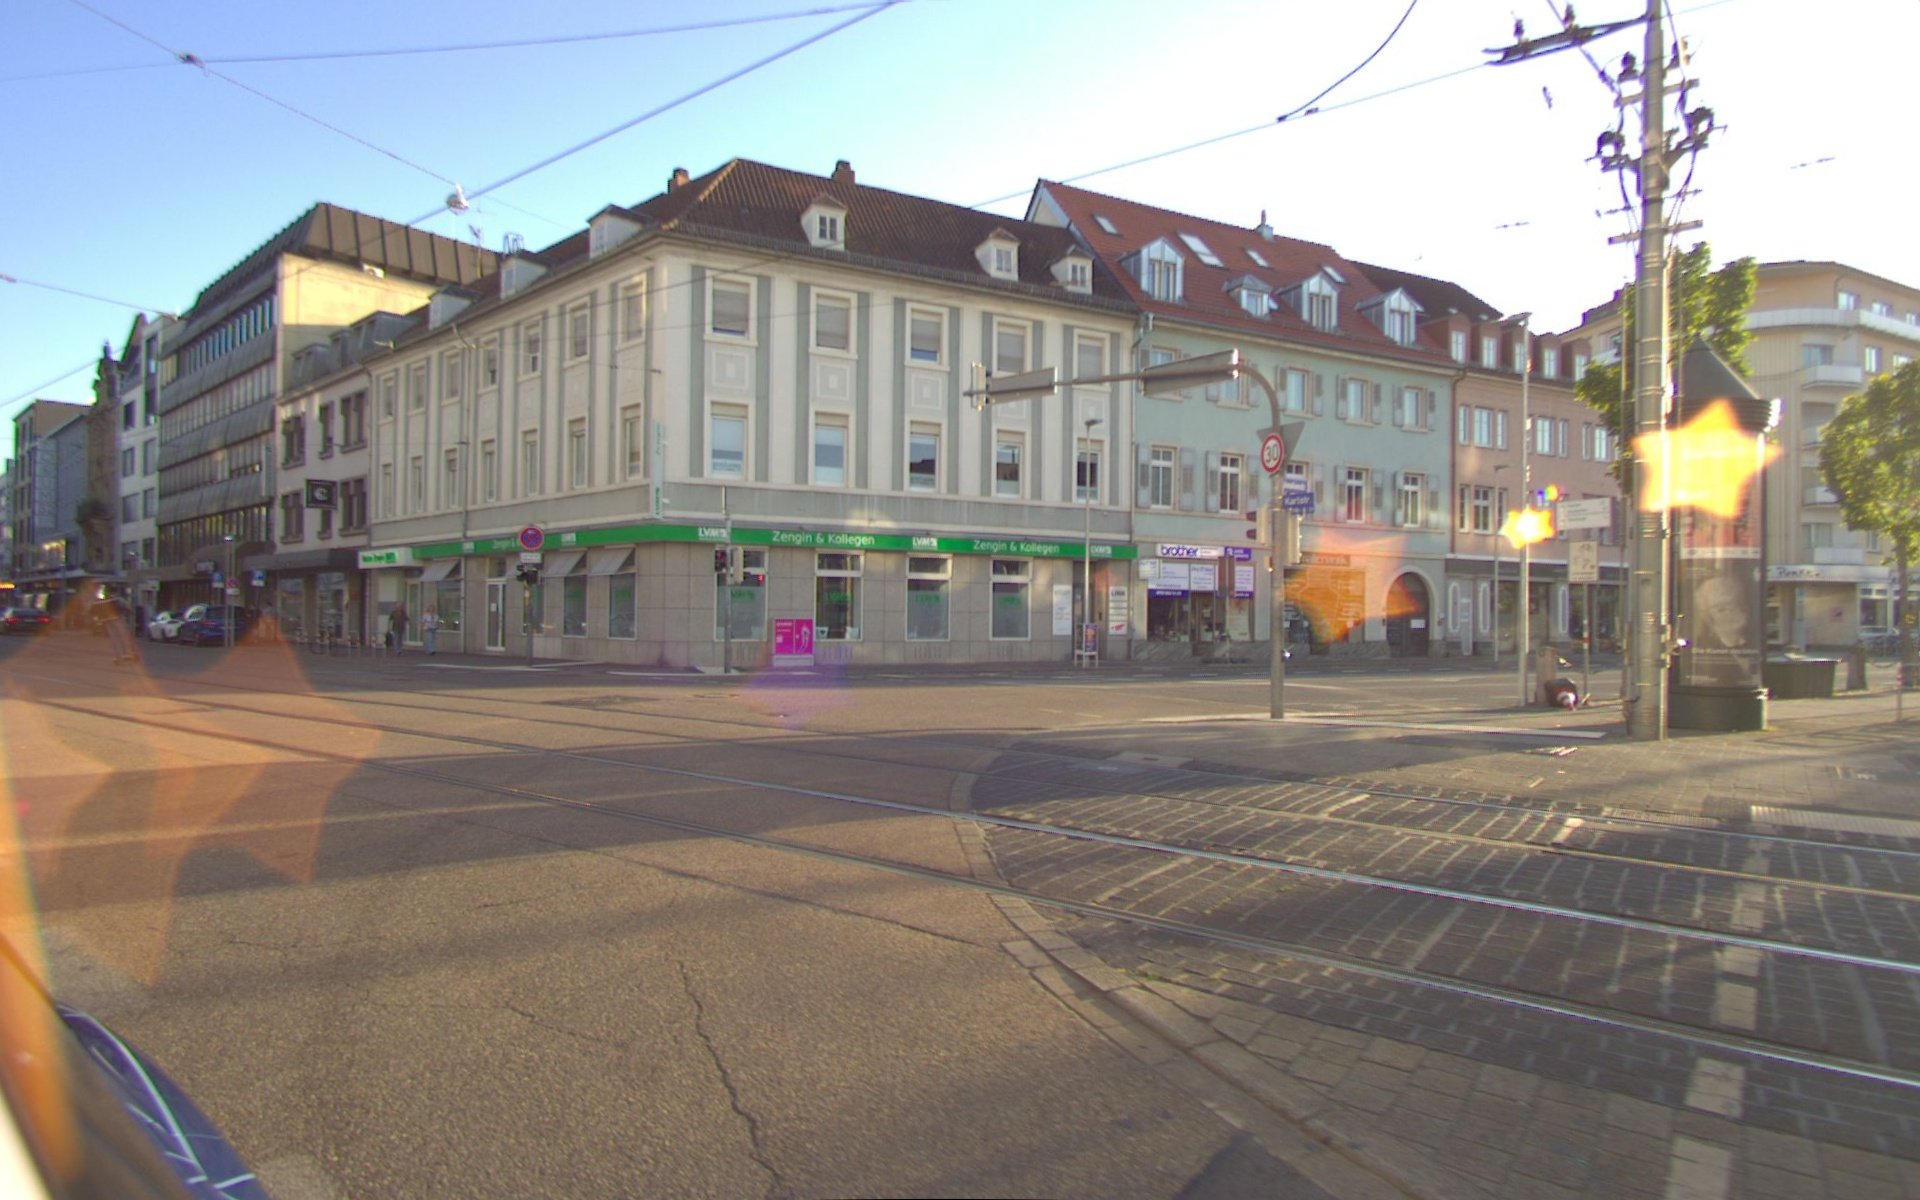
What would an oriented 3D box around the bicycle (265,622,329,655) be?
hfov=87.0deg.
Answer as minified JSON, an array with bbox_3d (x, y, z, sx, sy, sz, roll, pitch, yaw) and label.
[{"bbox_3d":[-22.232,1.287,33.960,1.716,1.067,0.499,1,-3,-41],"label":"bicycle"}]

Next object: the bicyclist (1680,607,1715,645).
[{"bbox_3d":[36.414,1.292,49.949,0.752,1.804,1.135,2,0,-11],"label":"bicyclist"}]

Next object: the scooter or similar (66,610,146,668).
[{"bbox_3d":[-20.806,0.927,24.691,0.538,1.361,1.669,0,-1,-1],"label":"scooter or similar"}]

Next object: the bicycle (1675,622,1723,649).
[{"bbox_3d":[36.403,1.746,49.872,0.492,1.213,2.129,2,0,-10],"label":"bicycle"}]

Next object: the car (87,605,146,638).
[{"bbox_3d":[-45.104,1.138,54.107,3.998,1.569,1.796,2,0,41],"label":"car"}]

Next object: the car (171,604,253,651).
[{"bbox_3d":[-31.549,1.108,42.649,4.126,1.809,1.891,1,1,40],"label":"car"}]

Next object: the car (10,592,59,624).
[{"bbox_3d":[-62.464,0.521,68.264,3.998,2.029,1.973,2,0,41],"label":"car"}]

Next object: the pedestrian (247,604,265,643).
[{"bbox_3d":[-31.716,1.059,45.594,0.583,1.697,0.503,1,0,39],"label":"pedestrian"}]

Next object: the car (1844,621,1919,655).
[{"bbox_3d":[42.999,1.757,47.158,3.294,1.495,1.555,1,-2,-26],"label":"car"}]

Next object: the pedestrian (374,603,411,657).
[{"bbox_3d":[-18.587,0.961,33.155,0.813,1.741,0.817,0,0,40],"label":"pedestrian"}]

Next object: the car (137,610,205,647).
[{"bbox_3d":[-36.208,1.256,46.435,3.997,1.636,1.680,-1,-1,40],"label":"car"}]

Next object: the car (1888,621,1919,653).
[{"bbox_3d":[46.300,1.812,48.552,3.294,1.480,1.555,2,-1,-26],"label":"car"}]

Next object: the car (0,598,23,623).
[{"bbox_3d":[-80.161,0.854,84.915,3.997,1.931,1.810,2,0,40],"label":"car"}]

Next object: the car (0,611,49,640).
[{"bbox_3d":[-50.036,1.372,53.760,4.541,1.491,1.870,-2,-4,41],"label":"car"}]

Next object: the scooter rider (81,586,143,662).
[{"bbox_3d":[-20.794,0.575,24.826,0.803,1.821,0.788,2,0,1],"label":"scooter rider"}]

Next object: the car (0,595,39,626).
[{"bbox_3d":[-67.670,0.713,72.543,3.999,2.074,1.972,2,0,41],"label":"car"}]

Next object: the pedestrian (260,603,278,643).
[{"bbox_3d":[-31.501,1.046,46.127,0.600,1.747,0.509,2,0,40],"label":"pedestrian"}]

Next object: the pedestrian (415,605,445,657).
[{"bbox_3d":[-17.071,0.997,32.610,0.814,1.653,0.816,0,-1,-30],"label":"pedestrian"}]
